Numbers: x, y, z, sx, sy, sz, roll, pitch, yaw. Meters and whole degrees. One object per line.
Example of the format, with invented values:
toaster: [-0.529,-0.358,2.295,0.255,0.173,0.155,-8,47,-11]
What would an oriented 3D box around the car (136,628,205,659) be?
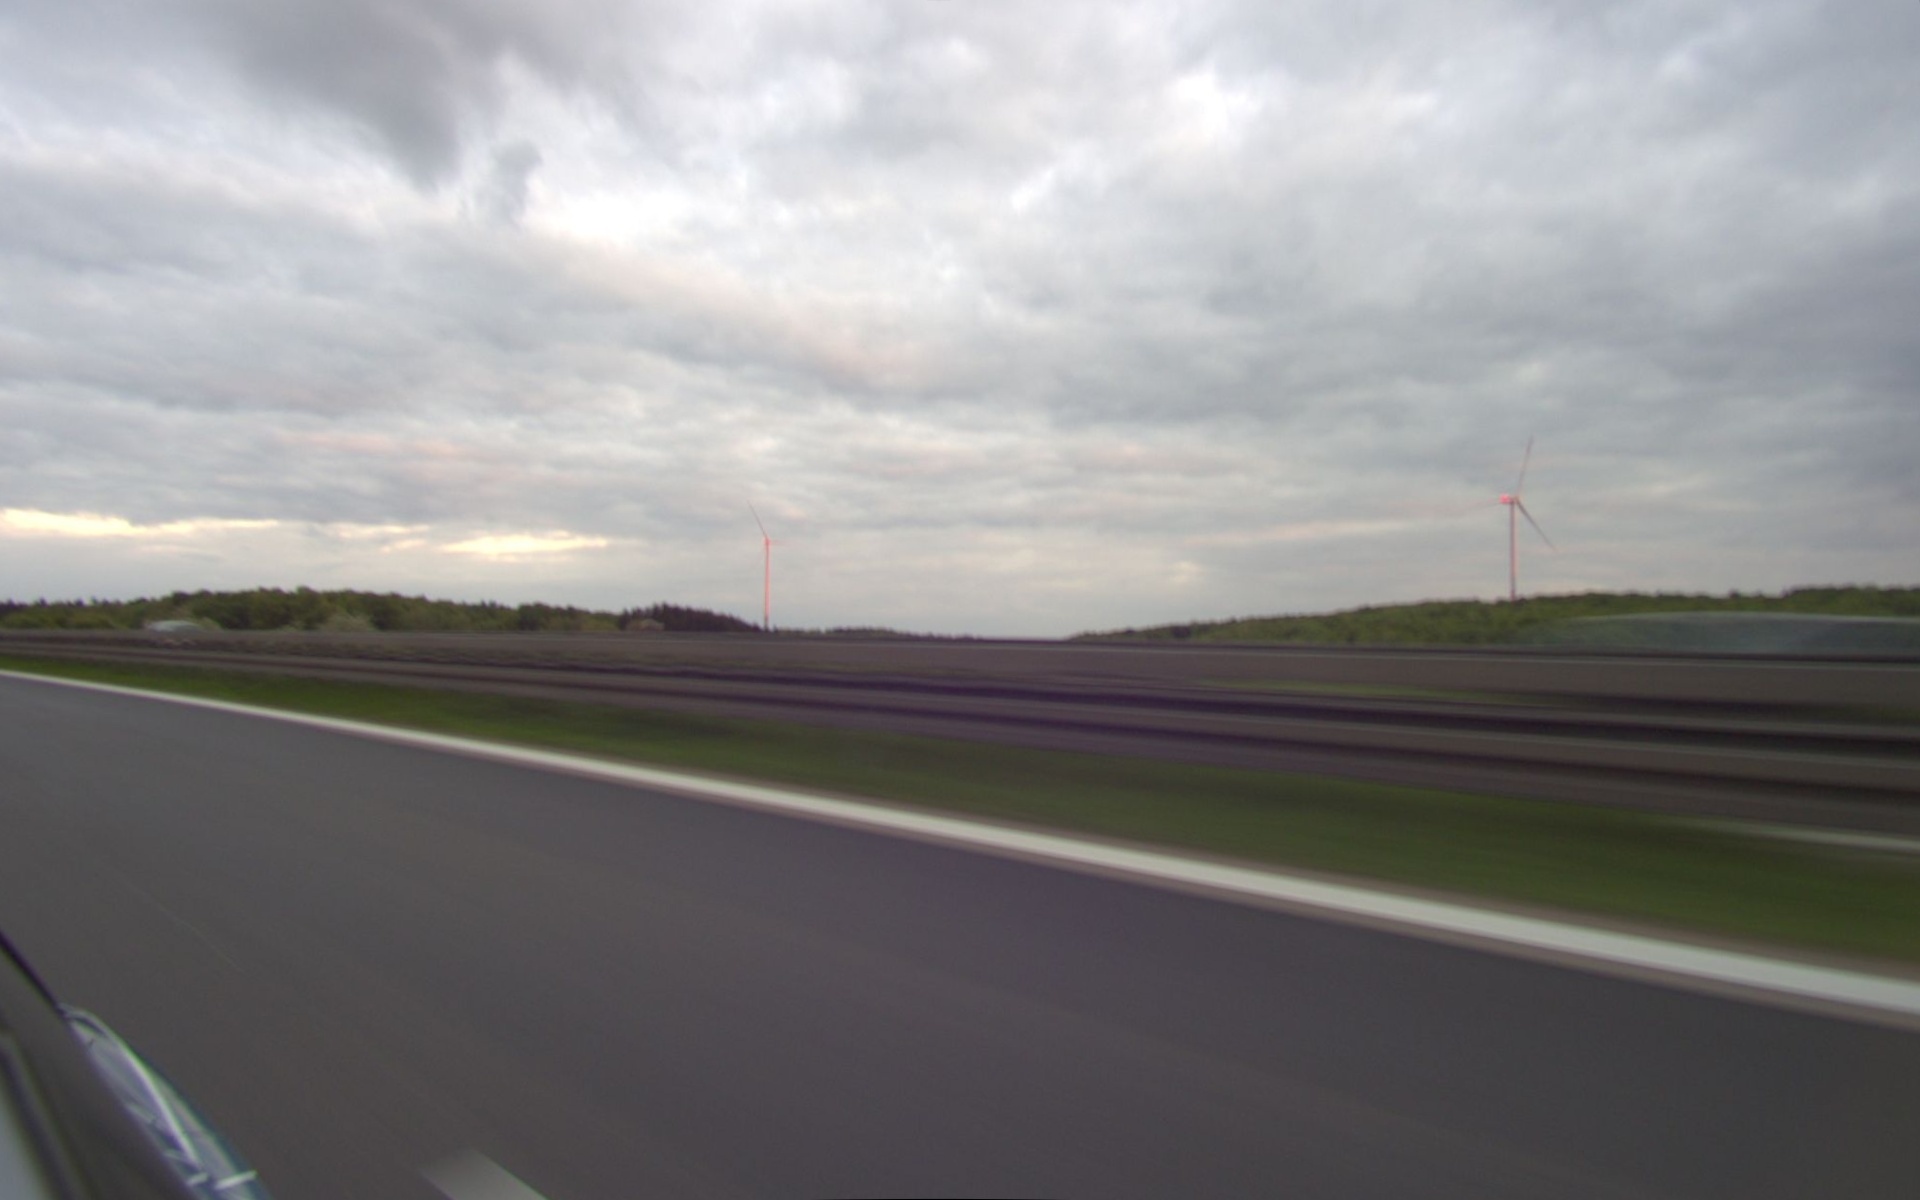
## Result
car: [-38.546,2.110,49.387,3.992,1.429,1.638,-2,-1,36]

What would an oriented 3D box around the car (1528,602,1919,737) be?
car: [8.695,0.760,11.236,3.947,1.298,1.622,-2,-5,40]
